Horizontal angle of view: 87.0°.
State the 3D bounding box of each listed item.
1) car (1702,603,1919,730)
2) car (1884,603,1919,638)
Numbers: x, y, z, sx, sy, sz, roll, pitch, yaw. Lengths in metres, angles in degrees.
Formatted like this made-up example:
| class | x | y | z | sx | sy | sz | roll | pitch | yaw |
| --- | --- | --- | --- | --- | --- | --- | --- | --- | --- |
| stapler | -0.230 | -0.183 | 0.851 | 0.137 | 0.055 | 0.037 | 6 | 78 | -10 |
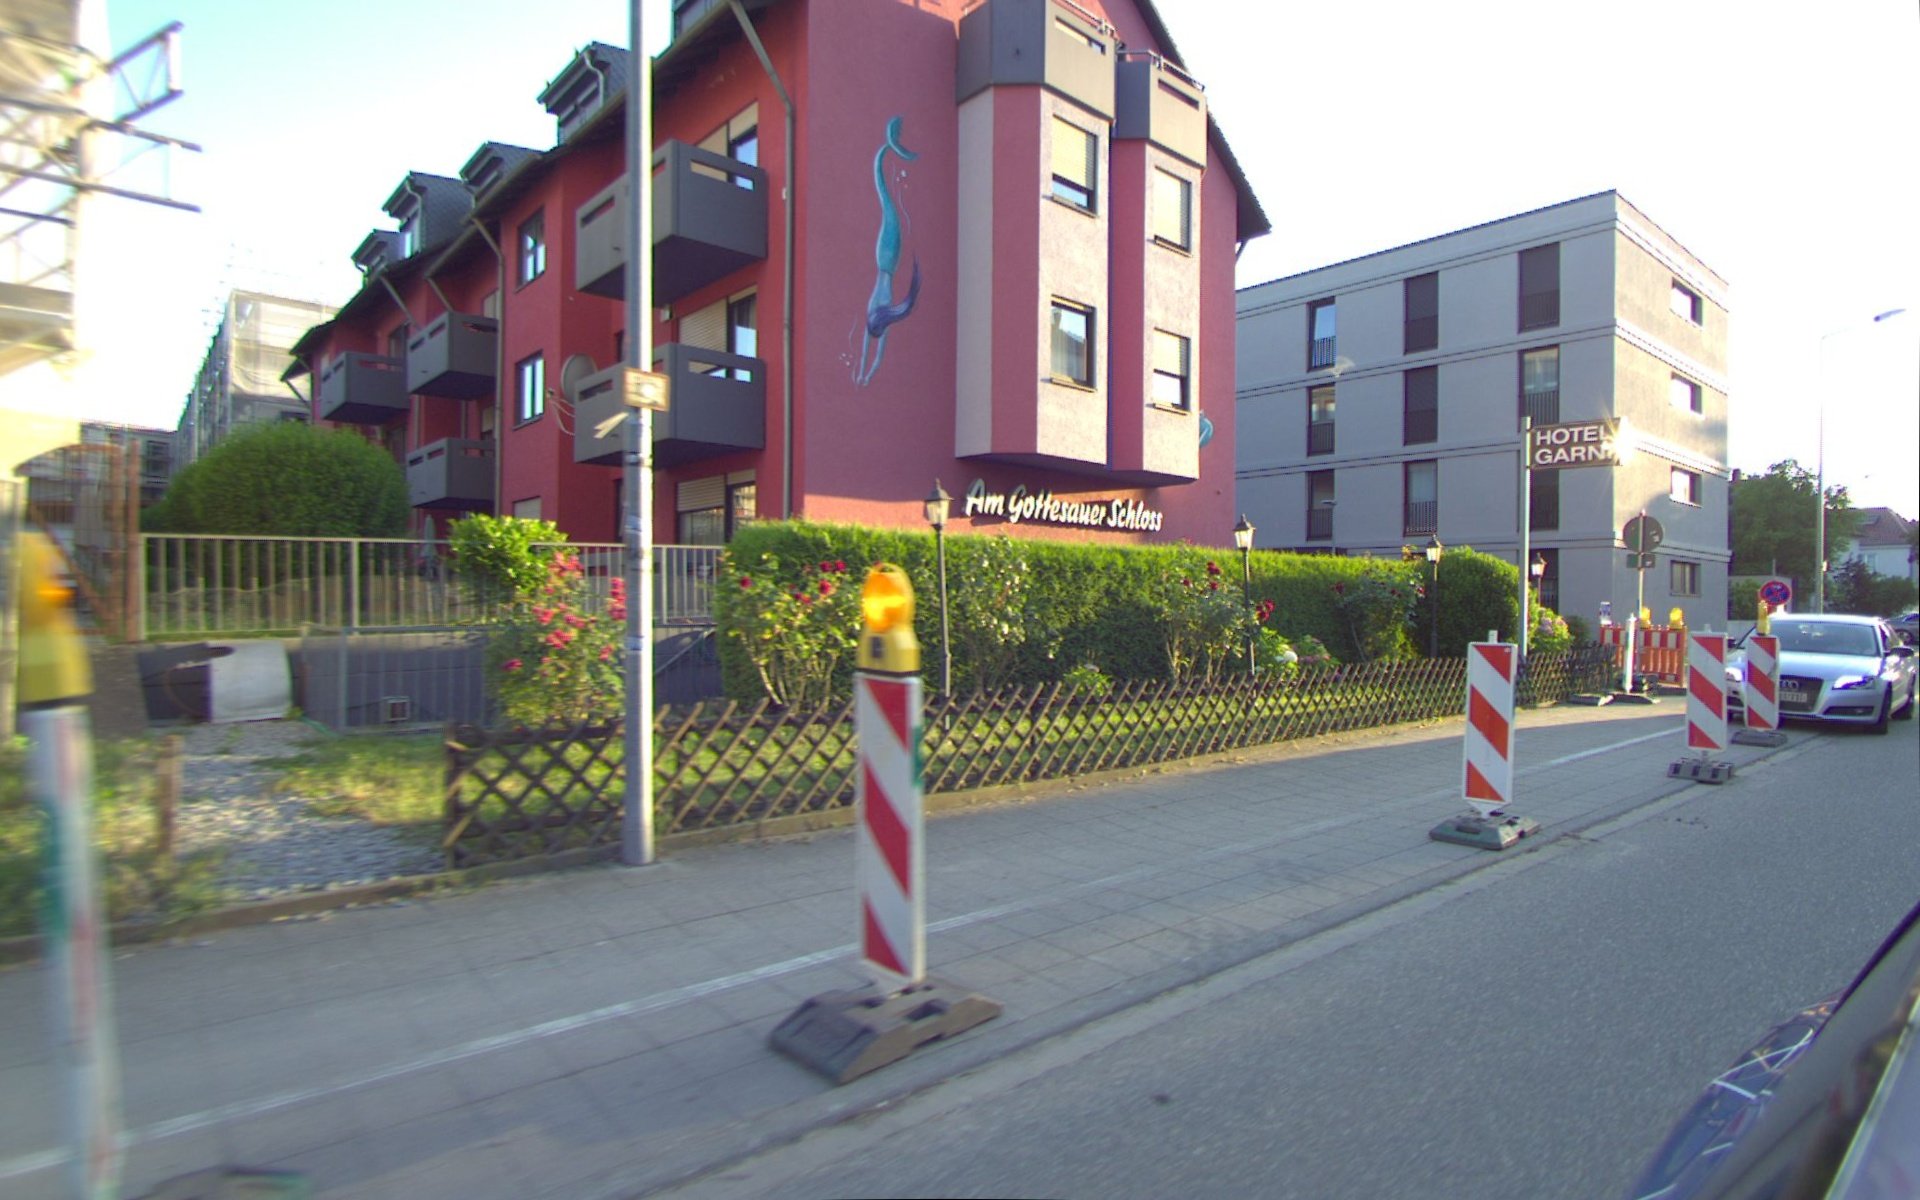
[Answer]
| class | x | y | z | sx | sy | sz | roll | pitch | yaw |
| --- | --- | --- | --- | --- | --- | --- | --- | --- | --- |
| car | 11.421 | 0.765 | 13.334 | 4.034 | 1.414 | 1.779 | 1 | -1 | -40 |
| car | 41.521 | 0.904 | 41.750 | 1.738 | 1.415 | 4.830 | 2 | 0 | -39 |
